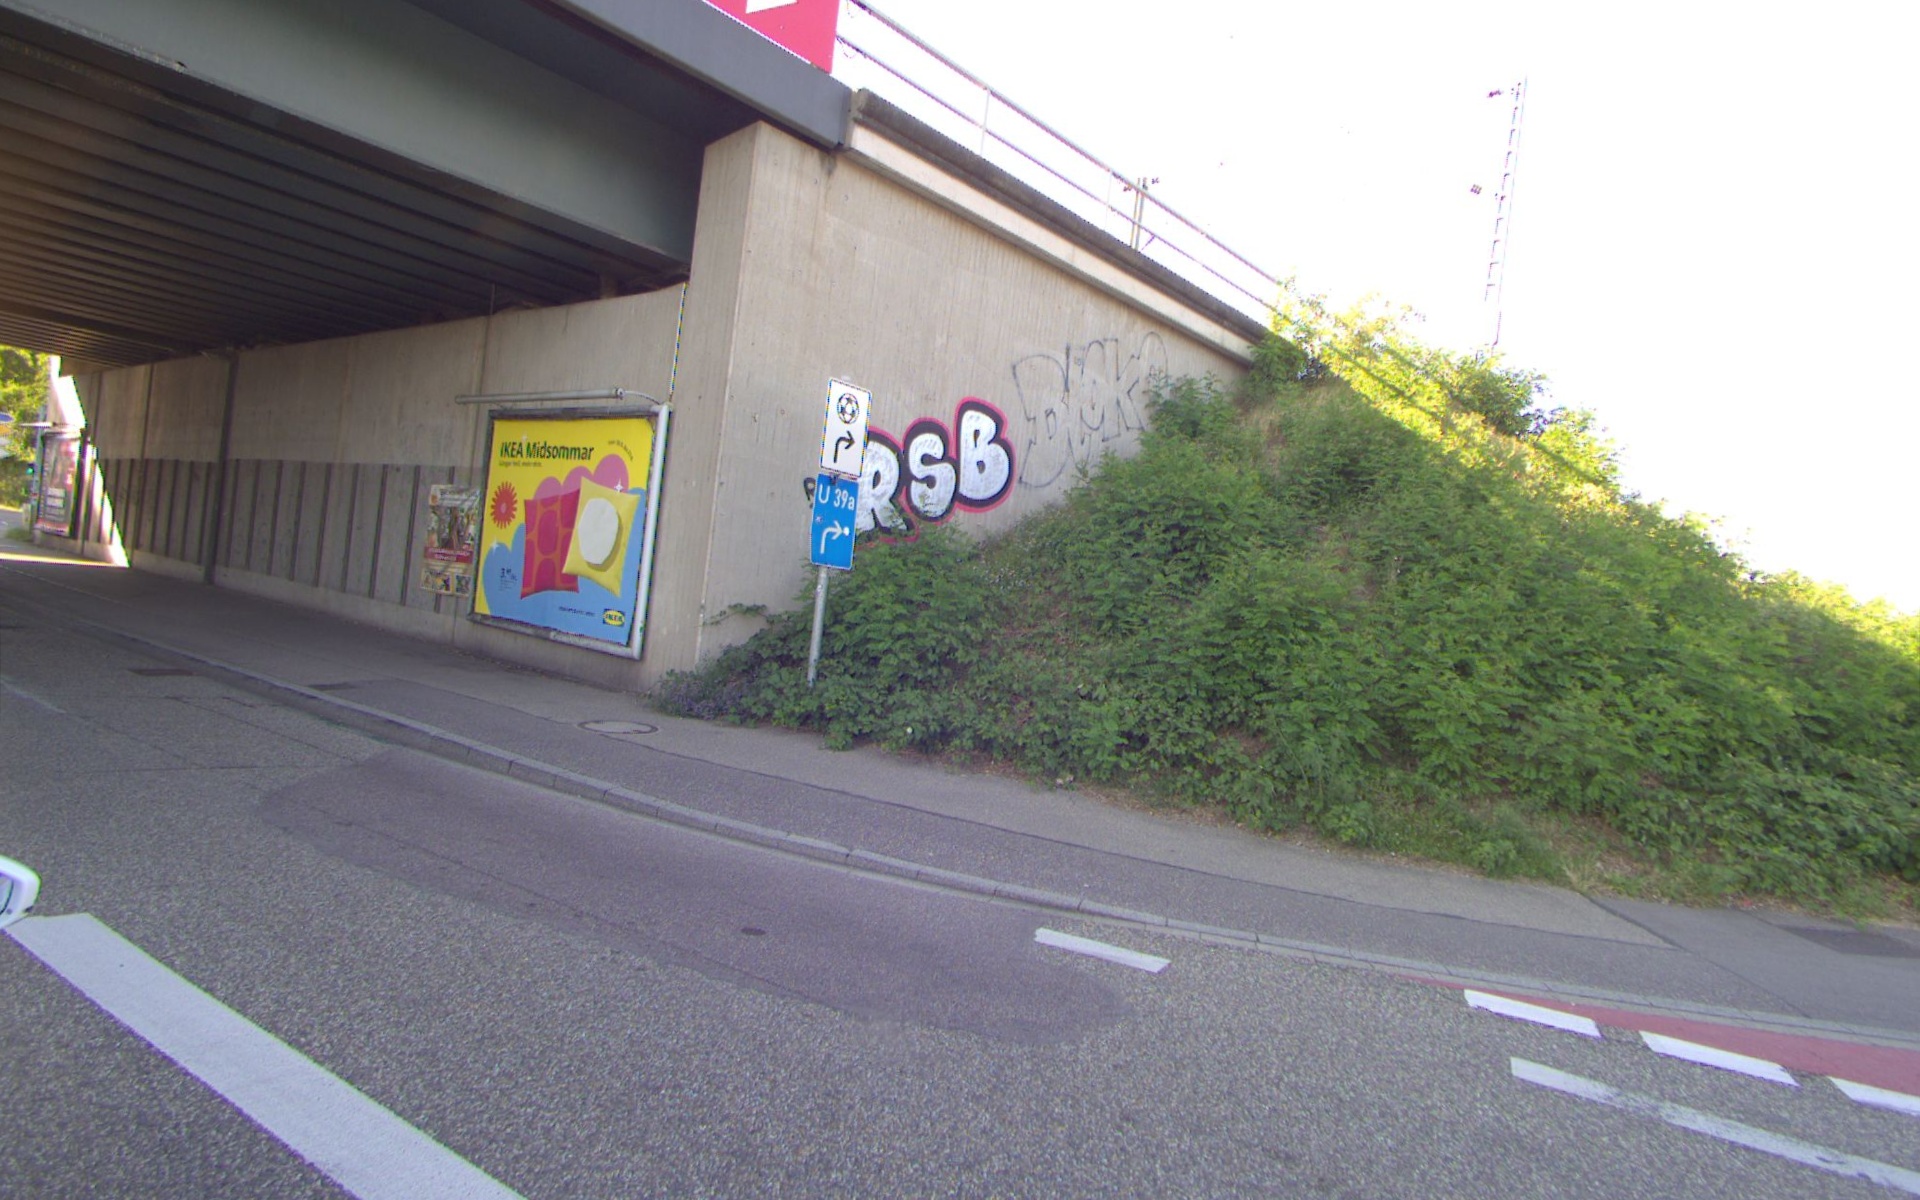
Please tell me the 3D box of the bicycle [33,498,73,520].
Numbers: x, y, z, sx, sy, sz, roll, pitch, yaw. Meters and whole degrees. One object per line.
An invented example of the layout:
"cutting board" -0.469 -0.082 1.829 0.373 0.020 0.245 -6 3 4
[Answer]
"bicycle" -53.740 -5.395 59.629 1.652 1.004 0.572 7 3 -35
